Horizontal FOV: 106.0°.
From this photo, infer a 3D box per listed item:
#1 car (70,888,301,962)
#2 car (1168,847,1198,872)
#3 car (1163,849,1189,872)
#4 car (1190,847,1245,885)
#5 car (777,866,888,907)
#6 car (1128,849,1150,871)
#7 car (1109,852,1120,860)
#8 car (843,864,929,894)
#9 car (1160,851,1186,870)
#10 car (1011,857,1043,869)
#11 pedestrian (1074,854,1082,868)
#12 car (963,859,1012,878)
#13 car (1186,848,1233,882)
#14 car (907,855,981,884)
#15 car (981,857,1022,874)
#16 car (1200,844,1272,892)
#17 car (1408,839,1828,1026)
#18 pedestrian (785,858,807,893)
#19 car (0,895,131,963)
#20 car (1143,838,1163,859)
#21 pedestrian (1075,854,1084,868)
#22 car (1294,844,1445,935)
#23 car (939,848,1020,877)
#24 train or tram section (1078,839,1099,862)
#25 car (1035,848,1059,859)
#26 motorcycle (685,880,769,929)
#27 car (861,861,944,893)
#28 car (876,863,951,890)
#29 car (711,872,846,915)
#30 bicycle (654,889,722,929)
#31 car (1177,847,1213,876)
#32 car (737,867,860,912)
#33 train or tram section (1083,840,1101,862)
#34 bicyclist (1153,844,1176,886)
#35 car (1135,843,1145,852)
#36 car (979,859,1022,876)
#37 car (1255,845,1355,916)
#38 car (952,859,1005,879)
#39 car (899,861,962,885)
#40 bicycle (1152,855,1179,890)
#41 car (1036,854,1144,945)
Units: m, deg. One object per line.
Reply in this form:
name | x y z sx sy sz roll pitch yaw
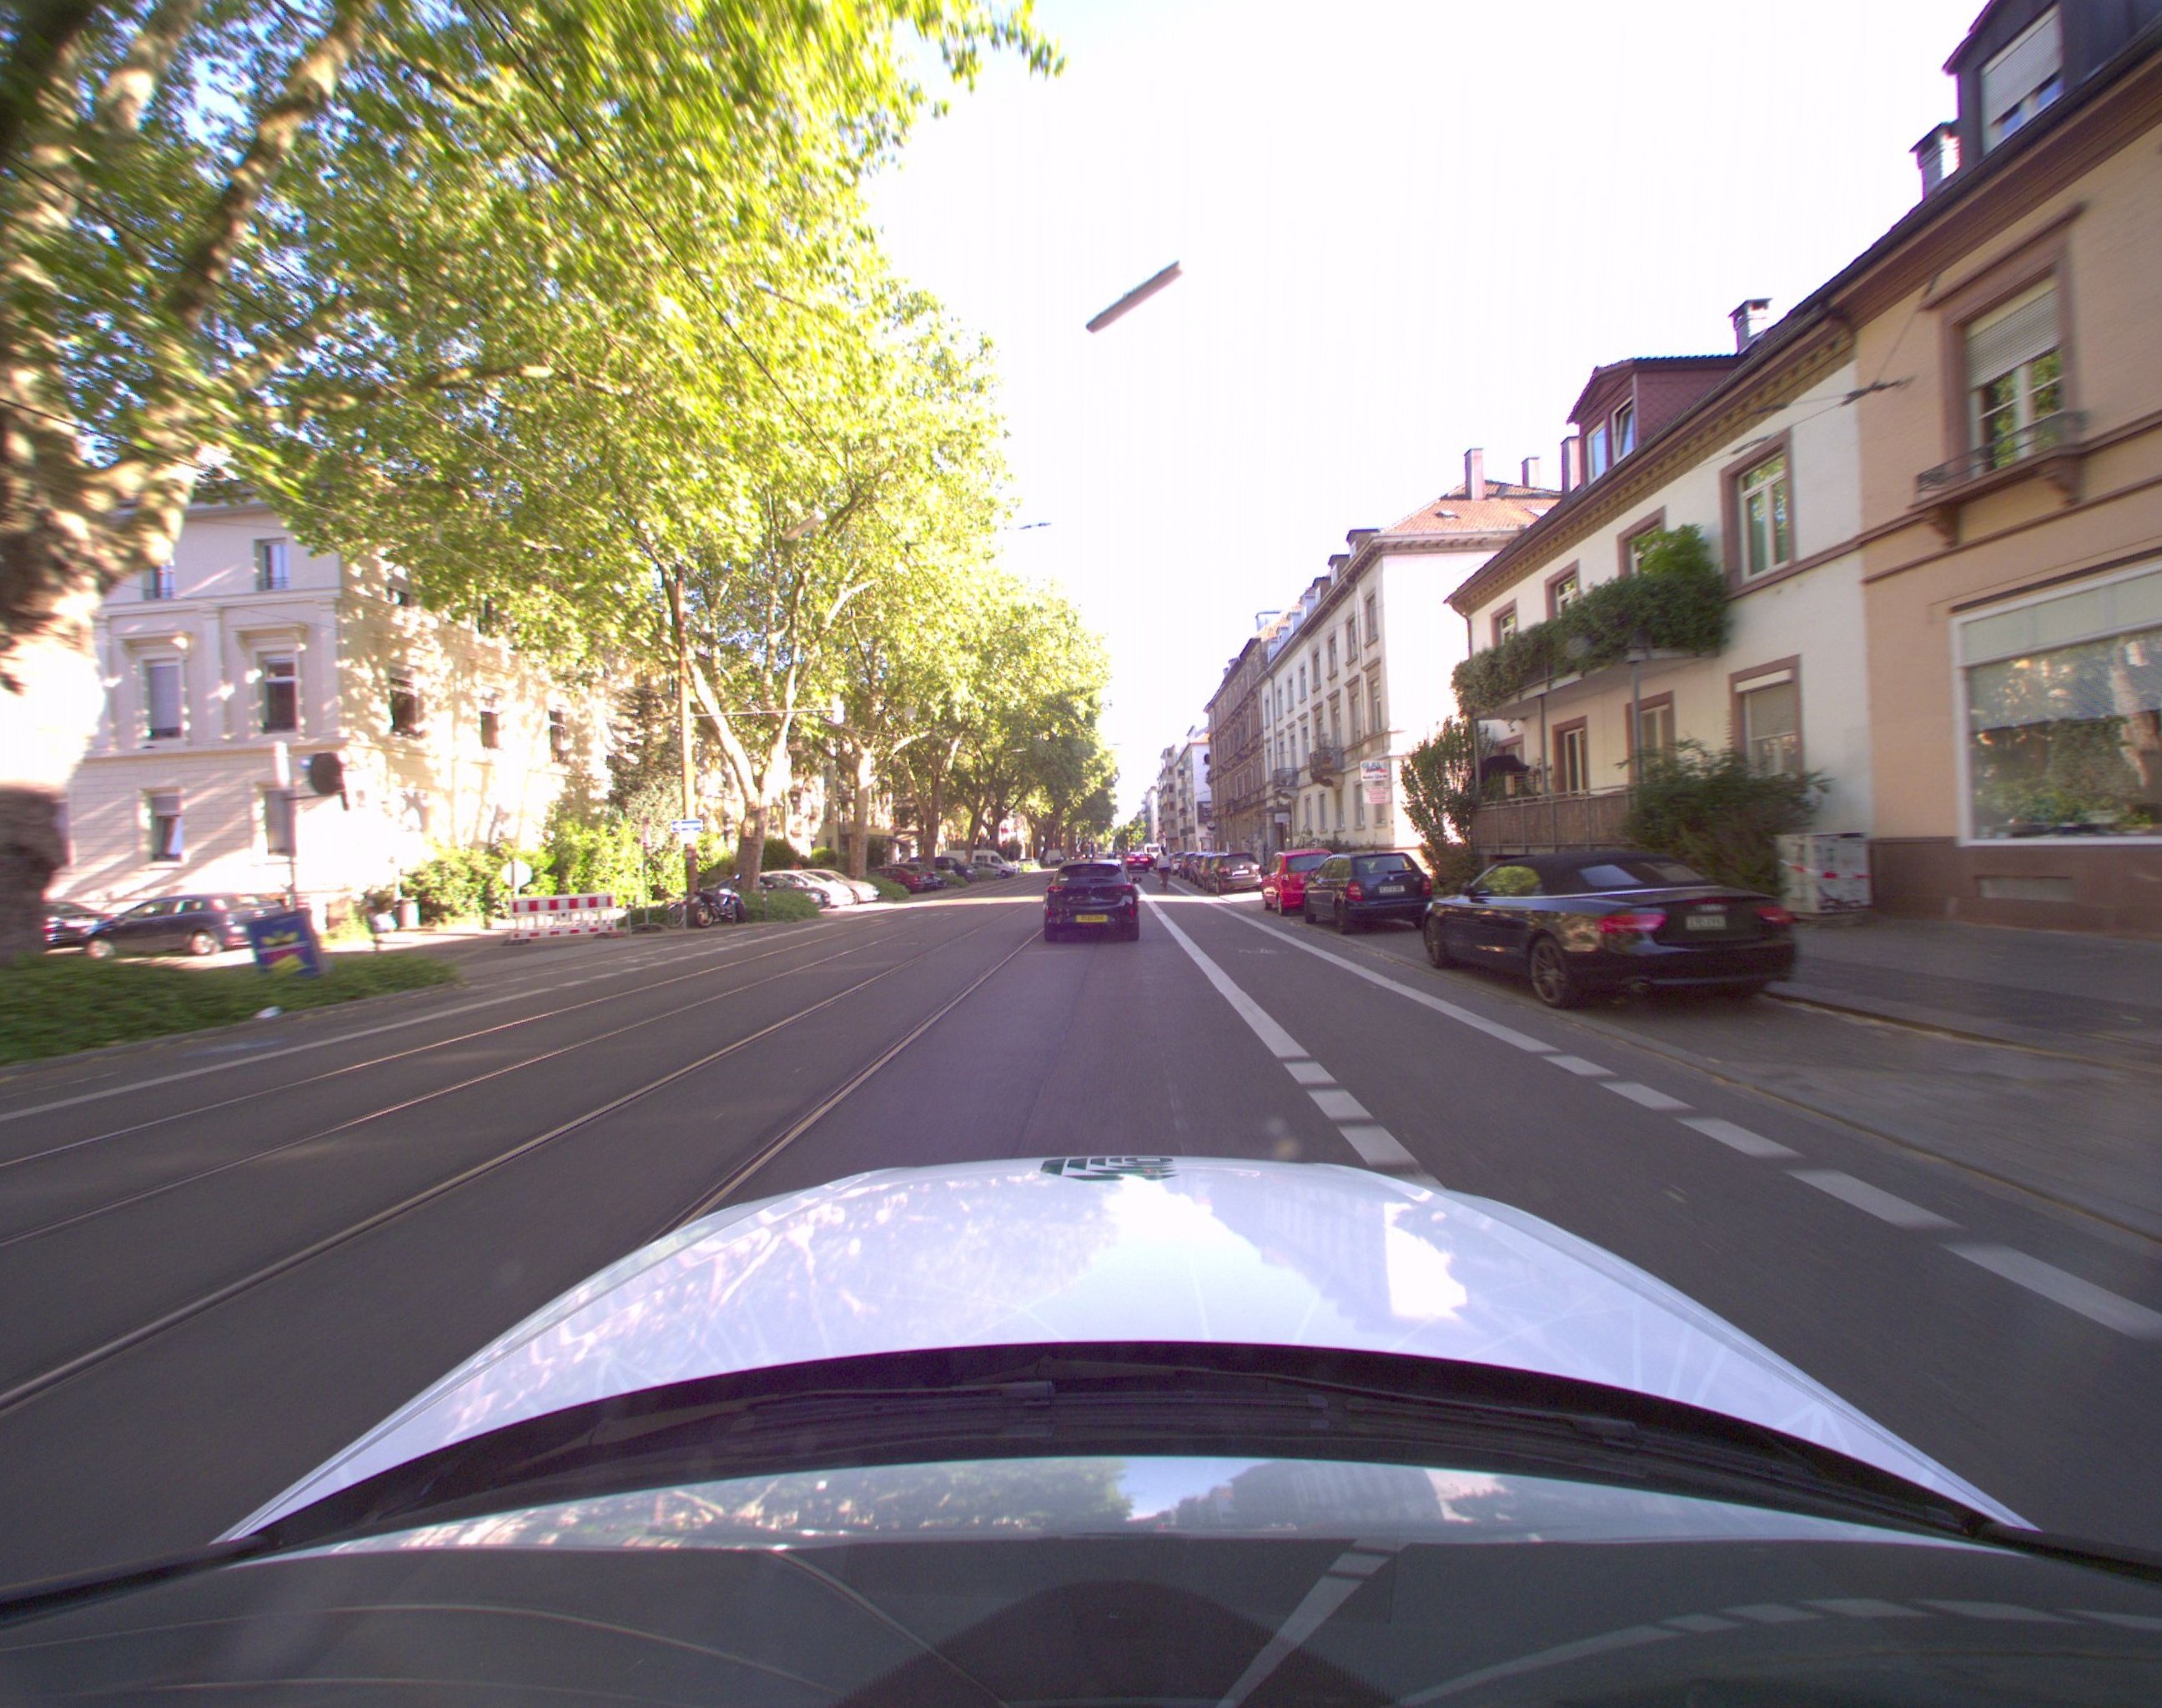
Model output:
car | -21.987 1.720 20.091 3.761 1.418 1.696 -3 3 2
car | 6.950 0.392 55.872 1.562 1.517 3.040 -6 0 0
car | 7.084 0.473 60.926 1.696 1.456 3.703 -6 0 5
car | 6.048 0.518 36.364 1.792 1.456 3.769 -6 0 1
car | -10.138 1.308 33.454 3.904 1.462 1.807 -3 0 2
car | 4.946 0.467 69.599 1.802 1.742 3.937 -3 0 3
car | 5.938 0.326 143.638 1.802 1.338 3.937 -2 0 3
car | -10.027 1.282 42.030 3.904 1.442 1.750 -1 0 2
car | 7.321 0.486 65.227 1.802 1.338 3.937 -6 0 3
car | -6.729 1.126 102.150 3.908 1.498 1.676 -1 0 -1
pedestrian | -0.336 0.776 88.992 0.673 1.567 0.772 -2 0 18
car | -7.867 1.189 68.765 3.905 1.498 1.678 -1 0 1
car | 6.430 0.514 41.091 1.872 1.456 4.029 -6 0 3
car | -9.404 1.057 56.139 4.655 1.924 1.982 -1 0 3
car | -7.805 1.130 80.237 3.908 1.577 1.676 -1 0 -1
car | 5.979 0.512 31.818 1.875 1.585 3.931 -6 0 -1
car | 5.159 0.624 8.718 1.686 1.392 4.499 -4 0 4
pedestrian | -15.433 1.175 44.162 0.863 1.849 0.836 -2 0 -5
car | -26.676 1.916 20.333 3.903 1.418 1.696 -3 2 2
car | 8.652 -0.680 98.516 2.067 2.219 4.938 -6 0 3
pedestrian | -0.179 0.771 89.803 0.673 1.567 0.772 -2 0 18
car | 5.469 0.614 15.944 1.644 1.456 3.871 -4 0 2
car | -8.811 0.711 71.182 6.602 2.409 2.459 -1 0 2
train or tram section | 1.387 -0.525 140.916 2.723 3.681 12.728 -3 0 3
car | -5.522 -0.075 132.571 3.908 1.790 1.676 -1 0 -1
motorcycle | -9.602 1.349 22.197 0.879 1.147 2.397 -2 0 10
car | -9.658 1.207 44.250 3.979 1.627 1.880 -1 0 2
car | -9.563 1.278 46.654 3.906 1.421 1.819 -1 0 0
car | -10.351 1.338 28.076 3.904 1.332 1.849 -1 0 2
bicycle | -10.691 1.482 22.244 0.537 0.940 2.040 -2 0 10
car | 6.583 0.423 47.341 1.703 1.483 3.767 -6 0 3
car | -10.542 1.313 30.577 3.906 1.453 1.801 -2 0 2
train or tram section | 2.115 -0.546 153.708 2.723 3.681 12.728 -3 0 3
bicyclist | 3.541 0.471 34.617 0.845 1.740 1.162 -2 0 1
car | 10.765 -1.168 148.991 1.802 1.338 3.937 -6 0 3
car | -7.705 1.302 77.784 3.908 1.498 1.676 -1 0 -1
car | 5.512 0.603 20.455 1.627 1.546 3.579 -4 0 3
car | -8.204 1.194 65.467 3.903 1.498 1.679 -1 0 3
car | -9.812 1.240 53.166 3.720 1.498 1.747 -1 0 2
bicycle | 3.569 0.746 34.562 0.857 1.407 2.524 -2 0 1
car | 0.220 0.774 15.585 1.787 1.441 3.533 -2 1 2
